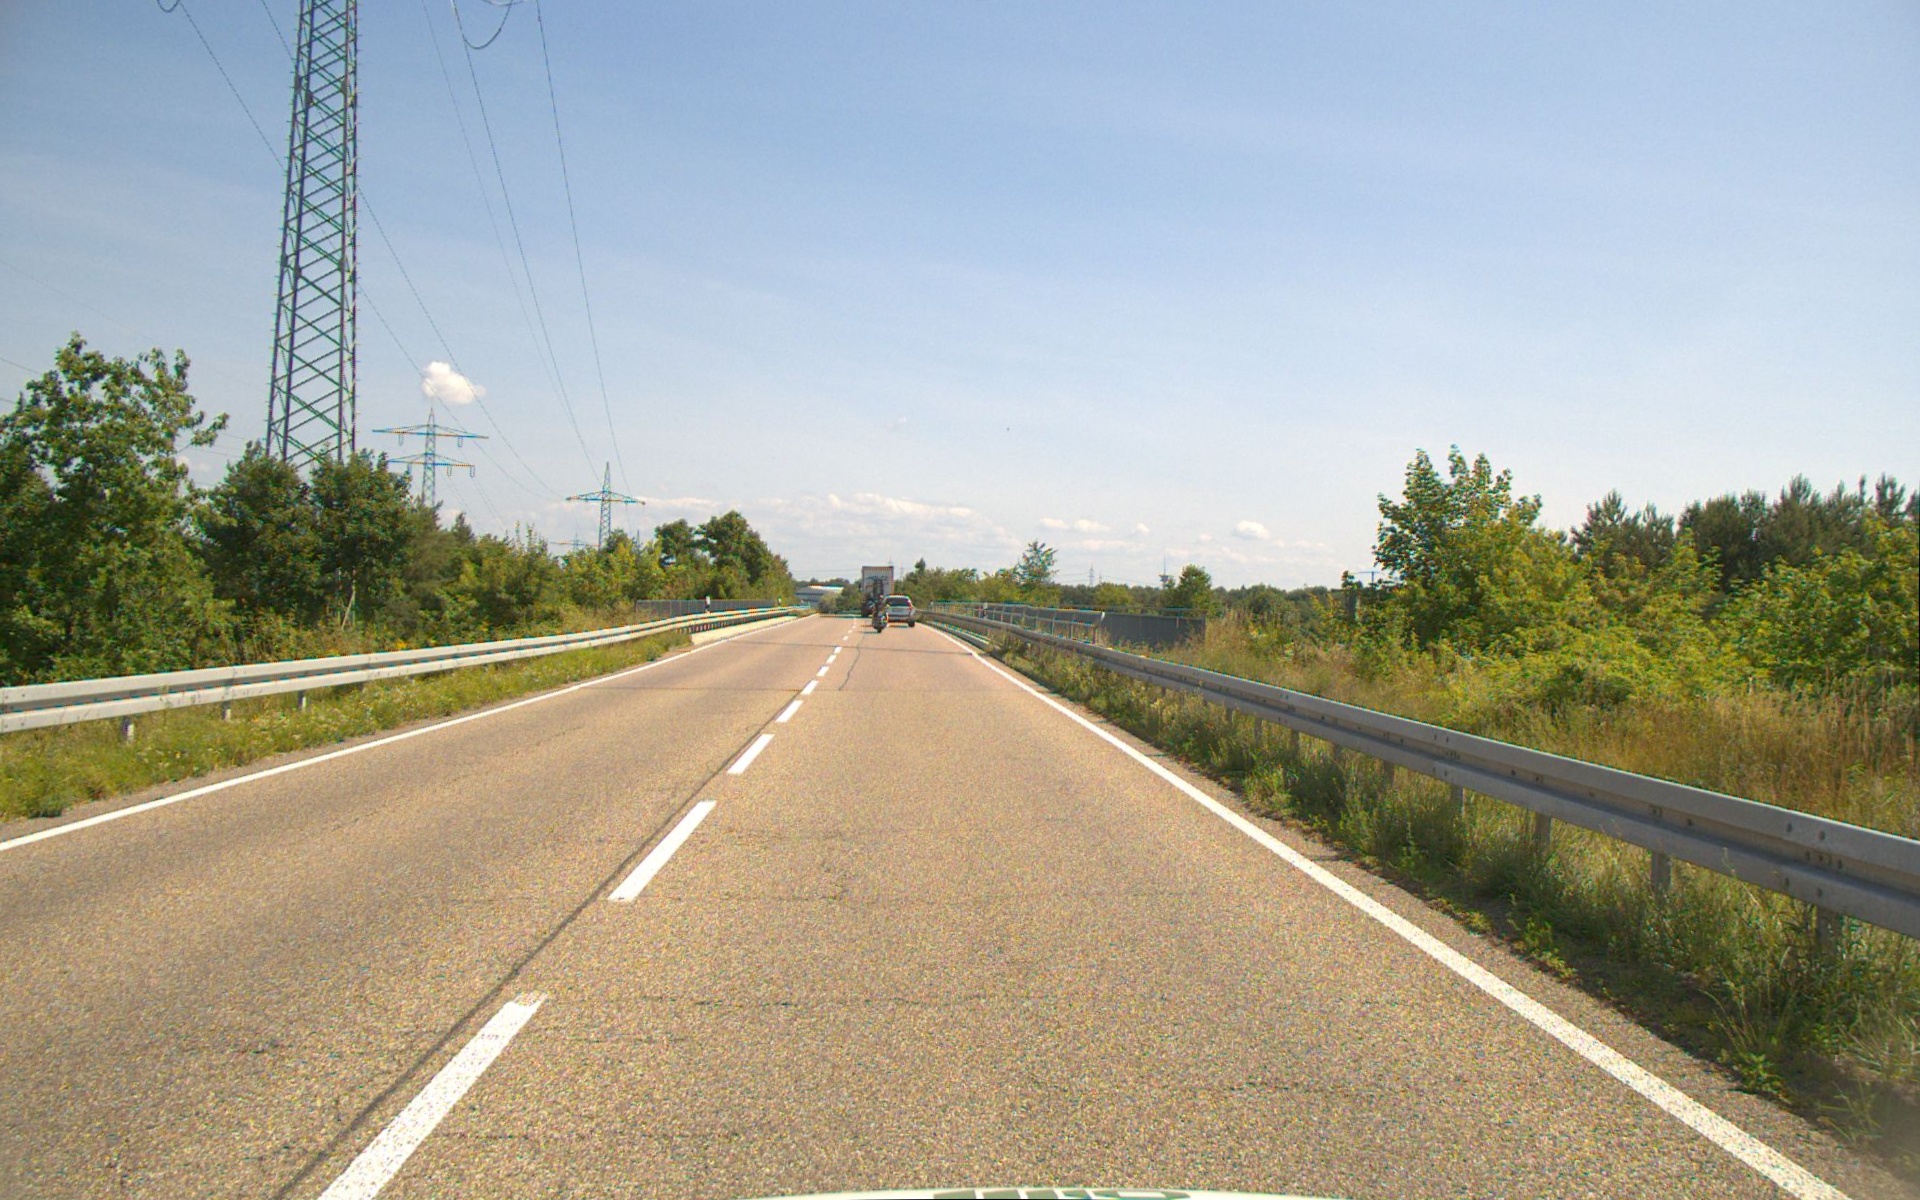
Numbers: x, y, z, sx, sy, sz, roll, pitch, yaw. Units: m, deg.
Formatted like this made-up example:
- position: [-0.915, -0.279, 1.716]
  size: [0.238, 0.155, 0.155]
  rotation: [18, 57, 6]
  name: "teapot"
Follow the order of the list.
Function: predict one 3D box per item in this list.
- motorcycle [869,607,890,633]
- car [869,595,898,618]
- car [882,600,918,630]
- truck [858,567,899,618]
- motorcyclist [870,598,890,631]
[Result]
- position: [-3.314, 0.826, 68.179]
  size: [0.764, 0.992, 2.361]
  rotation: [1, 0, -1]
  name: "motorcycle"
- position: [-5.079, 0.415, 110.322]
  size: [1.828, 1.445, 3.999]
  rotation: [1, 0, -2]
  name: "car"
- position: [-3.101, 0.750, 85.009]
  size: [1.789, 1.477, 3.998]
  rotation: [1, 0, -2]
  name: "car"
- position: [-6.728, -0.605, 136.949]
  size: [3.177, 4.048, 9.439]
  rotation: [1, 0, -2]
  name: "truck"
- position: [-3.301, 0.595, 68.198]
  size: [0.764, 1.349, 0.813]
  rotation: [1, 0, -2]
  name: "motorcyclist"
